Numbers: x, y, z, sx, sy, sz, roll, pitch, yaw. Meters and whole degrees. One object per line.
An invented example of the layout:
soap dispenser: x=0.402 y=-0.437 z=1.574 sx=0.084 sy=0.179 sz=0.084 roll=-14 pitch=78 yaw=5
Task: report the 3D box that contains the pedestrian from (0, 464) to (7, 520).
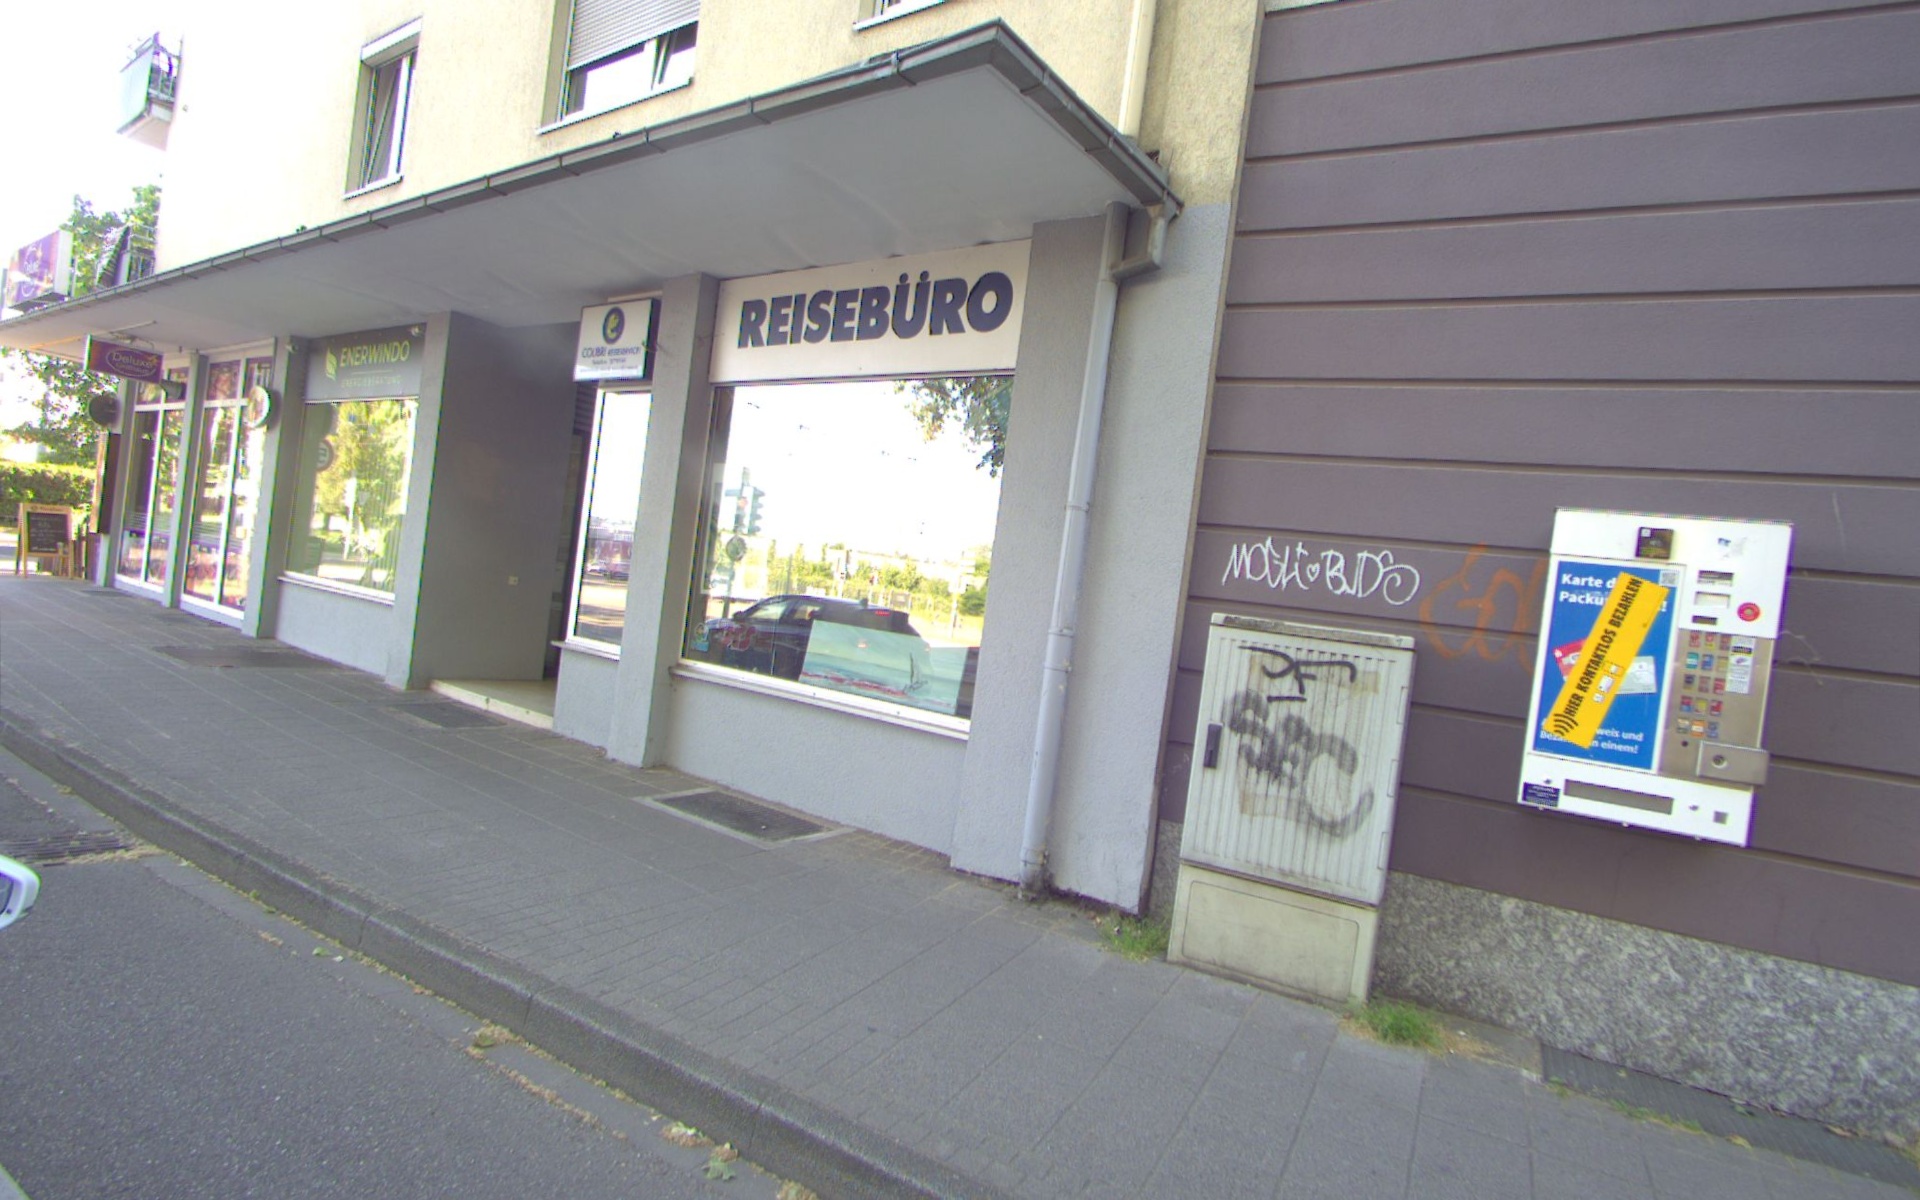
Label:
pedestrian: x=-18.985 y=-1.747 z=19.406 sx=0.630 sy=1.841 sz=0.738 roll=8 pitch=-1 yaw=-38
